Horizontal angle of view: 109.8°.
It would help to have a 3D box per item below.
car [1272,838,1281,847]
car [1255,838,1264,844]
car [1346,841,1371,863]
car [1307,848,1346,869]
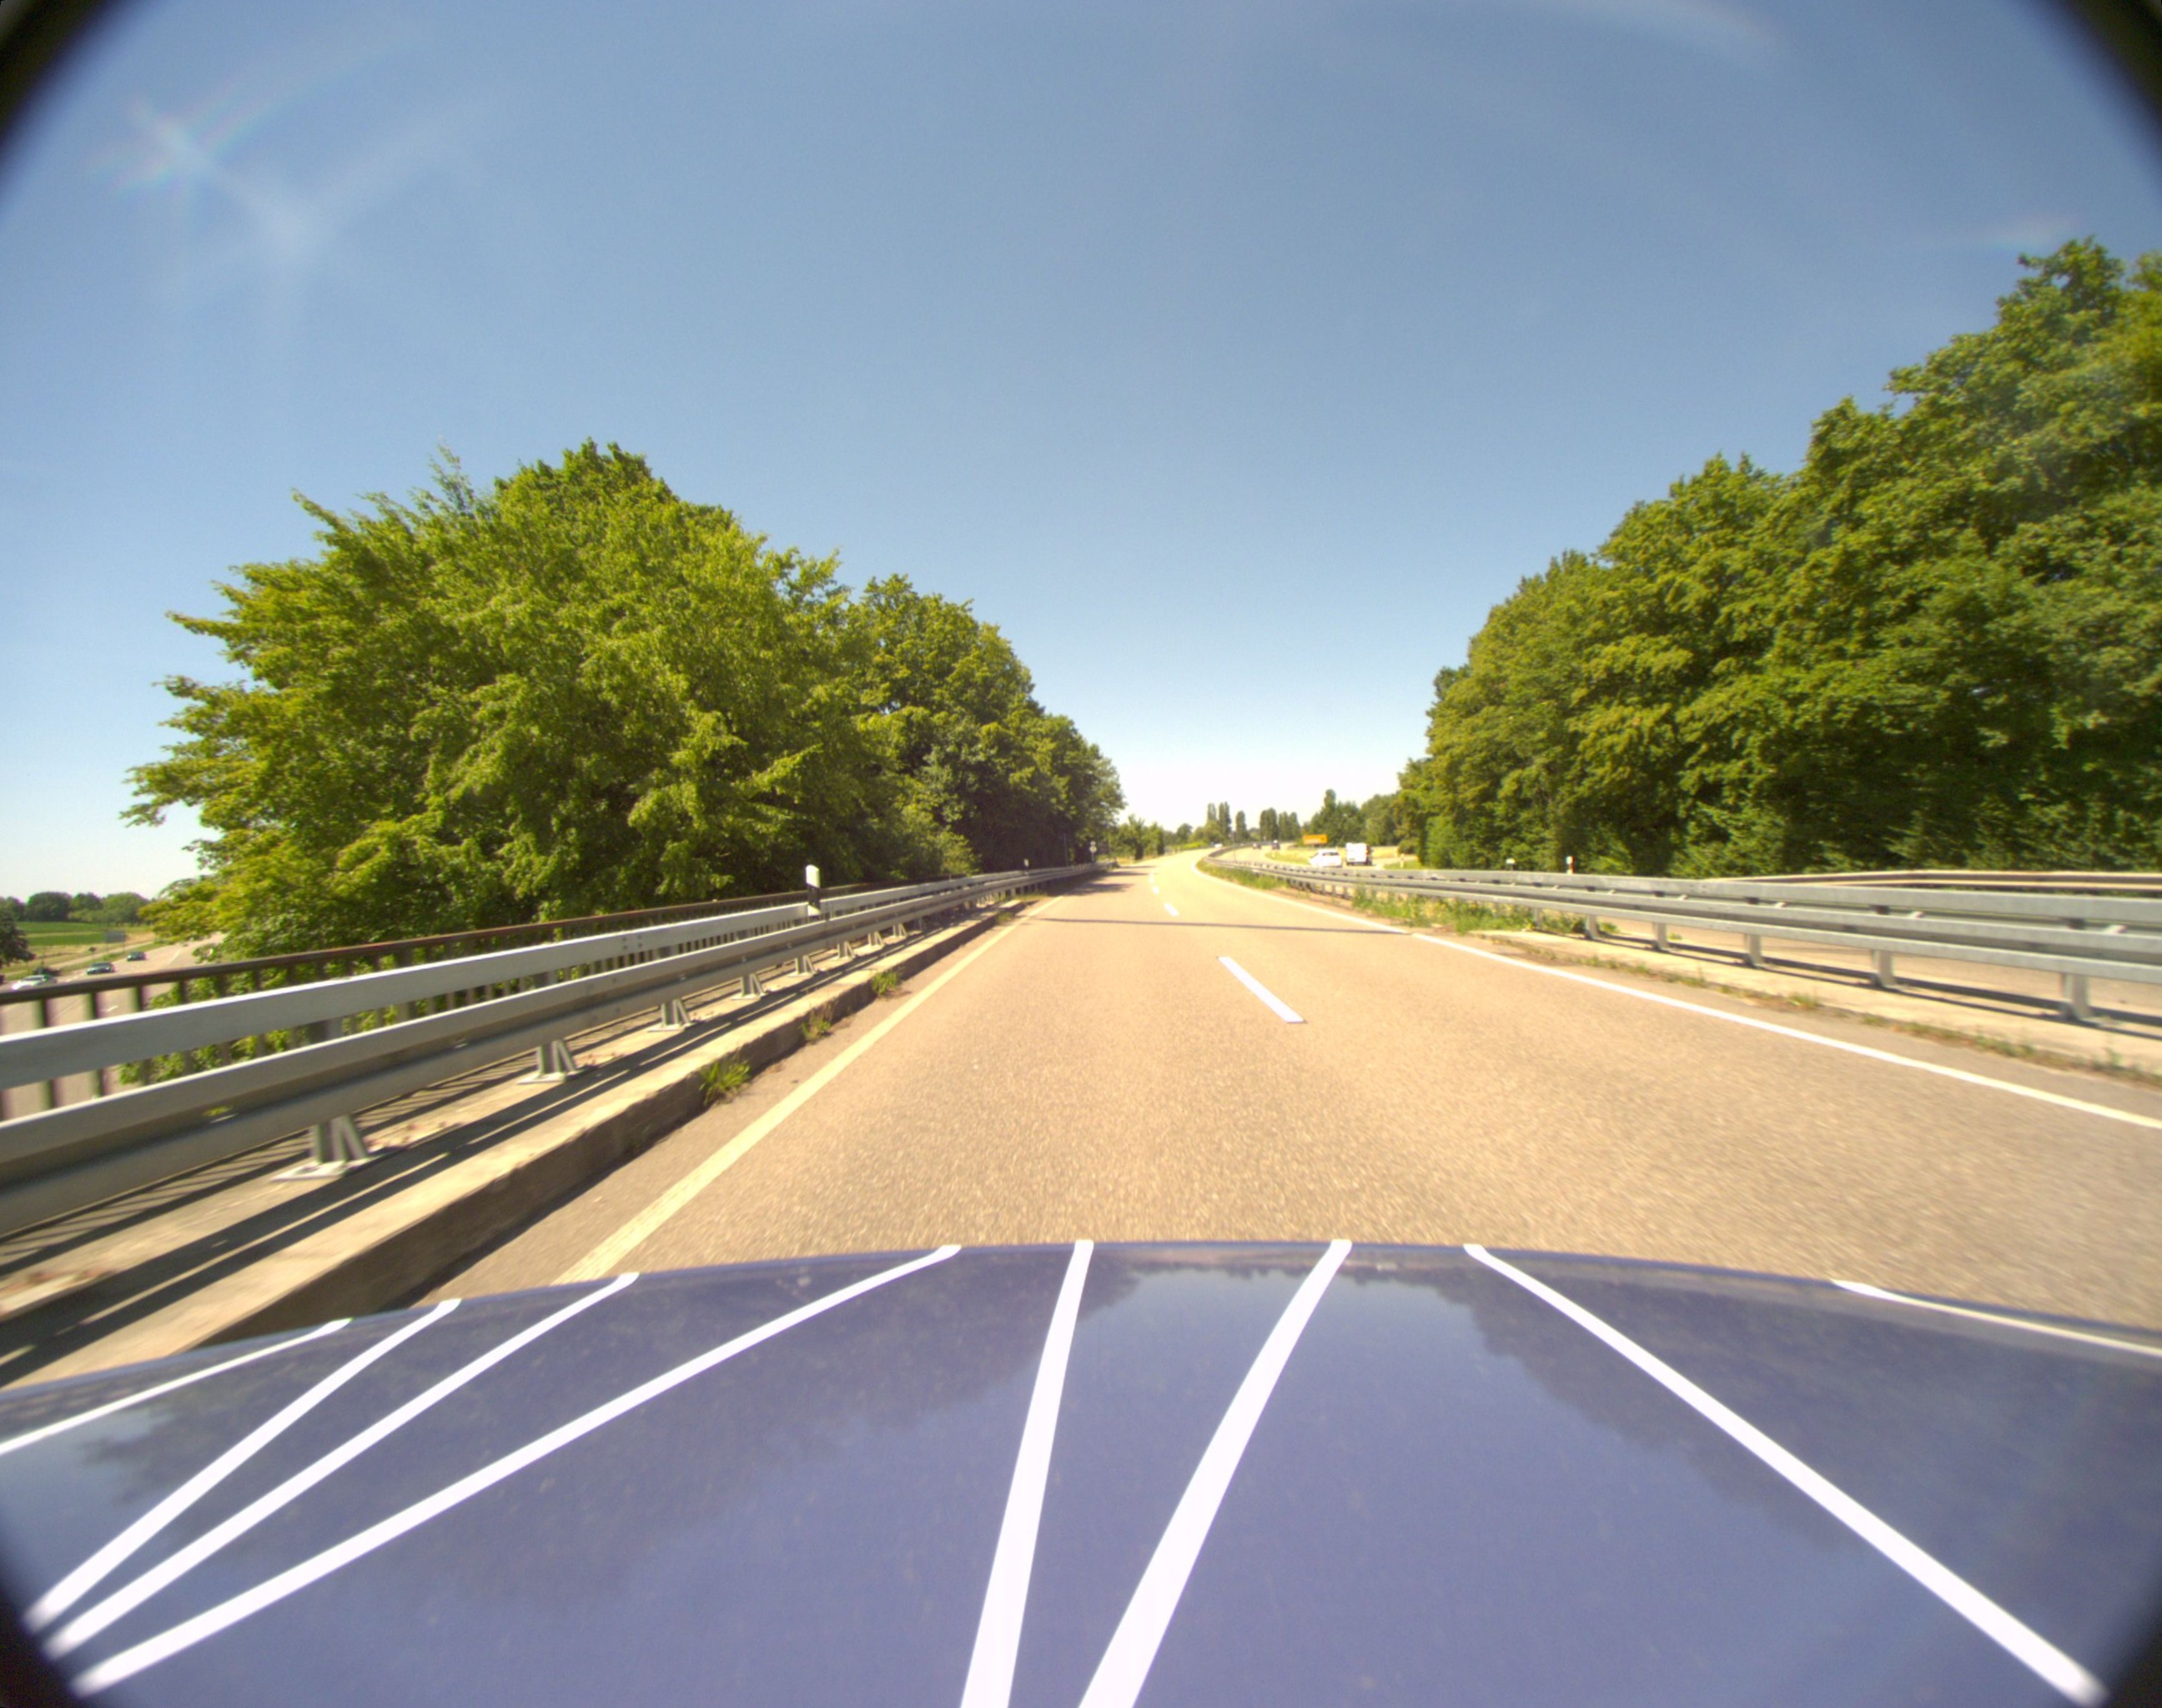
[{"bbox_3d":[48.197,-2.799,187.176,1.996,2.002,4.004,-4,1,17],"label":"car"},{"bbox_3d":[46.757,-3.436,199.121,1.826,1.608,4.546,-1,0,21],"label":"car"},{"bbox_3d":[25.346,-0.214,69.343,1.991,1.940,5.648,-1,0,22],"label":"car"},{"bbox_3d":[17.601,0.313,54.704,1.655,1.439,4.220,-1,0,3],"label":"car"}]
